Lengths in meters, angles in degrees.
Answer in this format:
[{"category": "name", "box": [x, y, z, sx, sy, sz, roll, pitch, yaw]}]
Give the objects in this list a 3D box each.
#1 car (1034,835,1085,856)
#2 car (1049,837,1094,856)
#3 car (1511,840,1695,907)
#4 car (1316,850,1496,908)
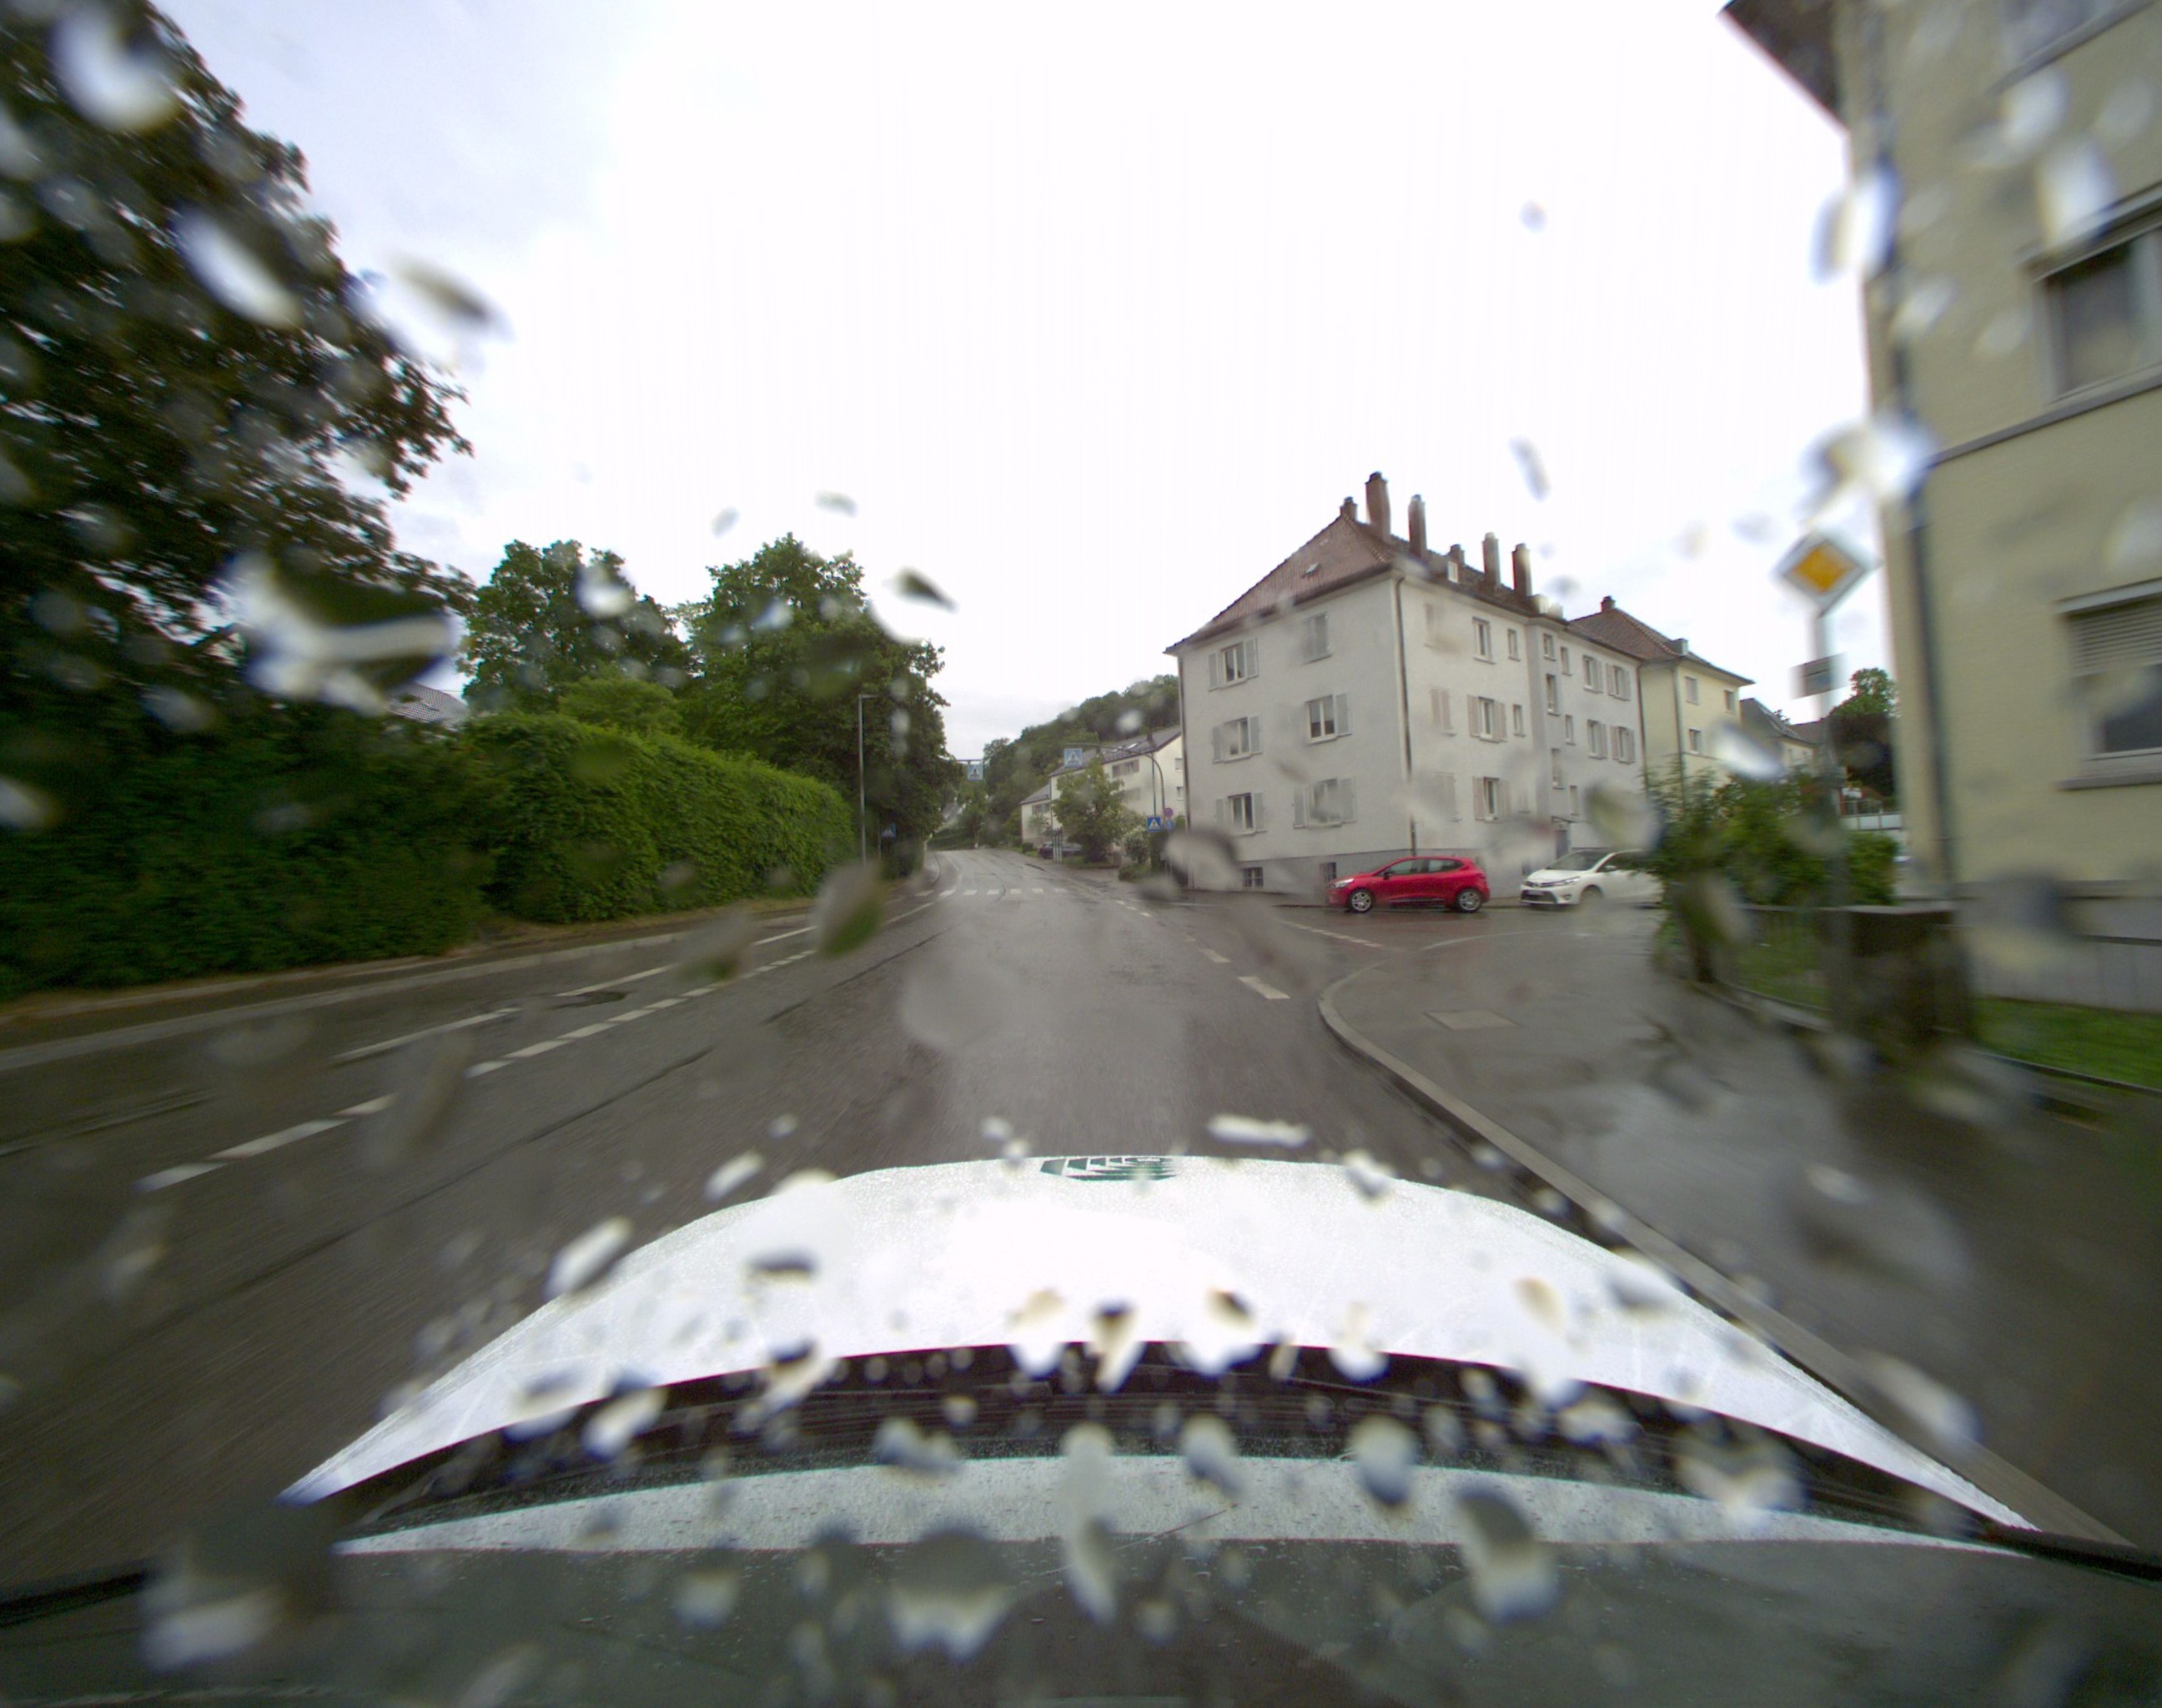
[{"category": "car", "box": [-2.091, -0.847, 78.933, 4.538, 1.660, 1.845, -4, 3, -18]}, {"category": "car", "box": [-0.840, -0.711, 73.938, 3.747, 1.458, 1.717, -4, 3, -13]}, {"category": "car", "box": [13.803, 0.463, 21.583, 4.233, 1.589, 1.716, -1, 1, -15]}, {"category": "car", "box": [8.267, 0.629, 21.045, 4.054, 1.407, 1.730, -1, 1, 10]}]
